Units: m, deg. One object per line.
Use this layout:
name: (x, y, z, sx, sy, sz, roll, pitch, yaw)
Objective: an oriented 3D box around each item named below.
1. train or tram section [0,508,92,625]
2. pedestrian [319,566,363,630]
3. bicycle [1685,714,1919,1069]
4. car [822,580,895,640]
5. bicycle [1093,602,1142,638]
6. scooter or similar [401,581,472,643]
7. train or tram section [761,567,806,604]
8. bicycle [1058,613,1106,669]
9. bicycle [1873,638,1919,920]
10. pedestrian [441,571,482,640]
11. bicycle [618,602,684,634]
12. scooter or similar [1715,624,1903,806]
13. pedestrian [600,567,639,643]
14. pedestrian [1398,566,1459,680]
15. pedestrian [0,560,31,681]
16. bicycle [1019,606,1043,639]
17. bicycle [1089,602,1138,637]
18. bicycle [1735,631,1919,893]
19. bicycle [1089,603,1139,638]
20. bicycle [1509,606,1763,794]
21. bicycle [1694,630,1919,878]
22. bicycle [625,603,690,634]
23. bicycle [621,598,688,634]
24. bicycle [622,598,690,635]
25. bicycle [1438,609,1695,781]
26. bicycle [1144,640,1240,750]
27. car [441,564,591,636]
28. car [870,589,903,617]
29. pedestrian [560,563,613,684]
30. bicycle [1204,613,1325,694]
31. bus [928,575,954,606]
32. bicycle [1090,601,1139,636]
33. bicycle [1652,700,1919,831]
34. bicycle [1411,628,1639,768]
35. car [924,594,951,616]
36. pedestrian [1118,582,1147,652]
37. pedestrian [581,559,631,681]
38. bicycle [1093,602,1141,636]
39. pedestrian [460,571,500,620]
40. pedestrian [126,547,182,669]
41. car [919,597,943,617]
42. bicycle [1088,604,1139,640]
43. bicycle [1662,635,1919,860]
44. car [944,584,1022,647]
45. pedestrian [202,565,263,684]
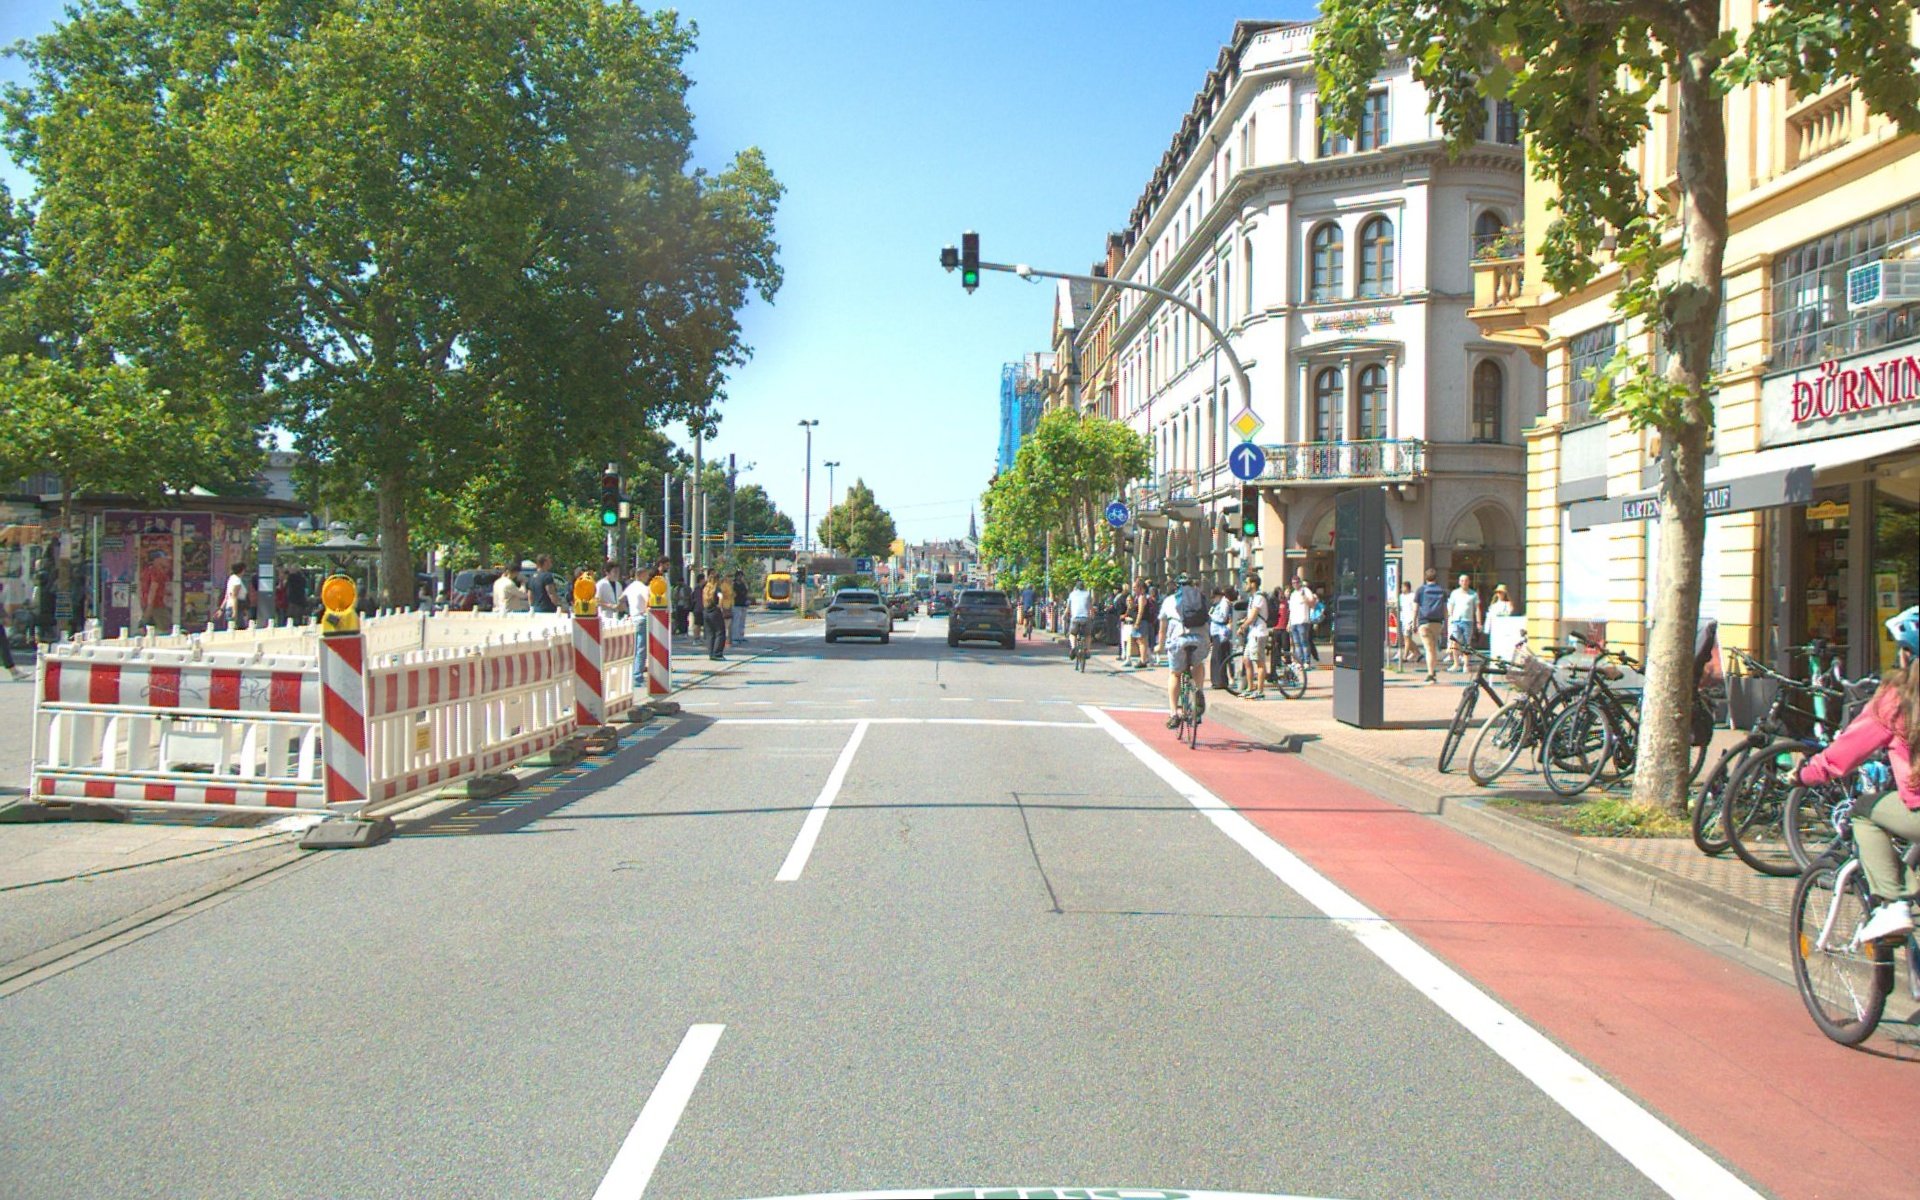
train or tram section: (-34.401, -1.107, 49.570, 2.567, 3.741, 15.498, 1, 0, 34)
pedestrian: (-14.726, -0.046, 39.350, 0.619, 1.504, 0.731, 1, 0, 20)
bicycle: (3.161, 0.932, 5.434, 0.588, 0.942, 2.087, 1, 1, -1)
car: (-2.776, 0.229, 46.002, 1.808, 1.587, 4.000, 0, 1, -1)
bicycle: (4.570, 0.580, 48.103, 1.391, 0.997, 0.445, -1, 1, -1)
scooter or similar: (-12.525, 0.285, 39.610, 1.252, 1.445, 1.037, 1, 0, 29)
train or tram section: (-16.665, -1.369, 157.001, 2.558, 3.406, 11.006, 1, 0, 2)
bicycle: (2.440, 0.806, 33.395, 0.758, 1.023, 2.329, 0, 1, -1)
bicycle: (5.112, 0.803, 7.365, 1.806, 1.222, 0.474, 1, 0, 1)
pedestrian: (-11.687, 0.124, 38.803, 0.619, 1.593, 0.665, 1, 0, 20)
bicycle: (-9.814, 0.565, 52.463, 2.046, 0.997, 0.682, 0, 0, -13)
scooter or similar: (6.078, 0.793, 11.891, 0.414, 1.198, 1.224, 1, 0, -21)
pedestrian: (-7.891, 0.116, 38.319, 0.564, 1.741, 0.606, 2, 0, 25)
pedestrian: (7.745, 0.387, 27.378, 0.644, 1.821, 1.232, 1, -2, -1)
pedestrian: (-12.649, 0.258, 21.635, 0.564, 1.559, 0.606, 2, 0, 5)
bicycle: (2.264, 0.702, 53.177, 0.634, 1.015, 2.030, 1, 0, -1)
bicycle: (4.543, 0.575, 49.051, 1.391, 0.997, 0.445, -1, 1, -1)
bicycle: (4.867, 0.790, 8.166, 1.806, 1.222, 0.545, 1, 0, 1)
bicycle: (4.429, 0.583, 47.640, 1.391, 0.997, 0.445, -1, 1, -1)
bicycle: (5.108, 0.732, 12.492, 1.795, 1.331, 0.684, 1, 0, -21)
bicycle: (4.894, 0.793, 8.672, 1.806, 1.222, 0.608, 1, 0, 1)
bicycle: (-9.828, 0.592, 53.687, 2.046, 0.997, 0.682, 0, 0, -13)
bicycle: (-9.499, 0.485, 51.466, 2.046, 1.108, 0.682, 0, 0, -13)
bicycle: (-9.337, 0.498, 50.818, 2.046, 1.108, 0.682, 0, 0, -13)
bicycle: (4.796, 0.728, 13.084, 1.904, 1.279, 0.701, 1, 0, -21)
bicycle: (2.346, 0.938, 16.936, 0.617, 0.997, 2.088, 1, 0, -2)
car: (-12.897, 0.017, 48.326, 1.820, 1.989, 4.762, 1, 0, 20)
car: (-4.293, 0.160, 96.838, 1.808, 1.587, 3.999, 1, 0, -2)
pedestrian: (-5.522, 0.344, 24.434, 0.534, 1.748, 0.599, 2, 0, -32)
bicycle: (4.385, 0.757, 23.965, 0.595, 1.101, 1.816, -2, 1, -35)
bus: (-2.339, -1.158, 201.703, 2.934, 3.657, 11.740, 1, 0, -2)
bicycle: (4.529, 0.553, 48.558, 1.391, 0.997, 0.445, -1, 1, -1)
bicycle: (5.378, 1.033, 10.596, 1.818, 0.728, 0.655, 1, 0, -22)
bicycle: (4.758, 0.813, 13.964, 1.746, 1.142, 0.562, 0, 0, -4)
car: (-1.569, 0.324, 113.681, 1.808, 1.438, 3.999, 1, 0, -2)
pedestrian: (4.256, 0.420, 40.810, 0.571, 1.703, 0.605, -2, 0, -3)
pedestrian: (-5.388, 0.302, 25.195, 0.528, 1.810, 0.606, 2, 0, 5)
bicycle: (4.689, 0.572, 49.489, 1.391, 0.997, 0.401, -1, 1, -1)
pedestrian: (-11.459, -0.106, 39.471, 0.619, 1.164, 0.665, 1, 0, 20)
pedestrian: (-12.902, 0.123, 26.465, 0.656, 1.912, 0.624, 2, 0, -36)
car: (-2.238, 0.503, 126.301, 1.808, 1.438, 3.999, 1, 0, -2)
bicycle: (4.348, 0.622, 46.816, 1.391, 0.997, 0.445, -1, 1, -1)
bicycle: (5.000, 0.814, 9.305, 1.806, 1.184, 0.659, 1, 0, 1)
car: (0.583, 0.376, 44.823, 1.809, 1.586, 3.998, 0, 1, -3)
pedestrian: (-11.069, 0.376, 25.182, 0.564, 1.769, 0.606, 2, 0, 5)
